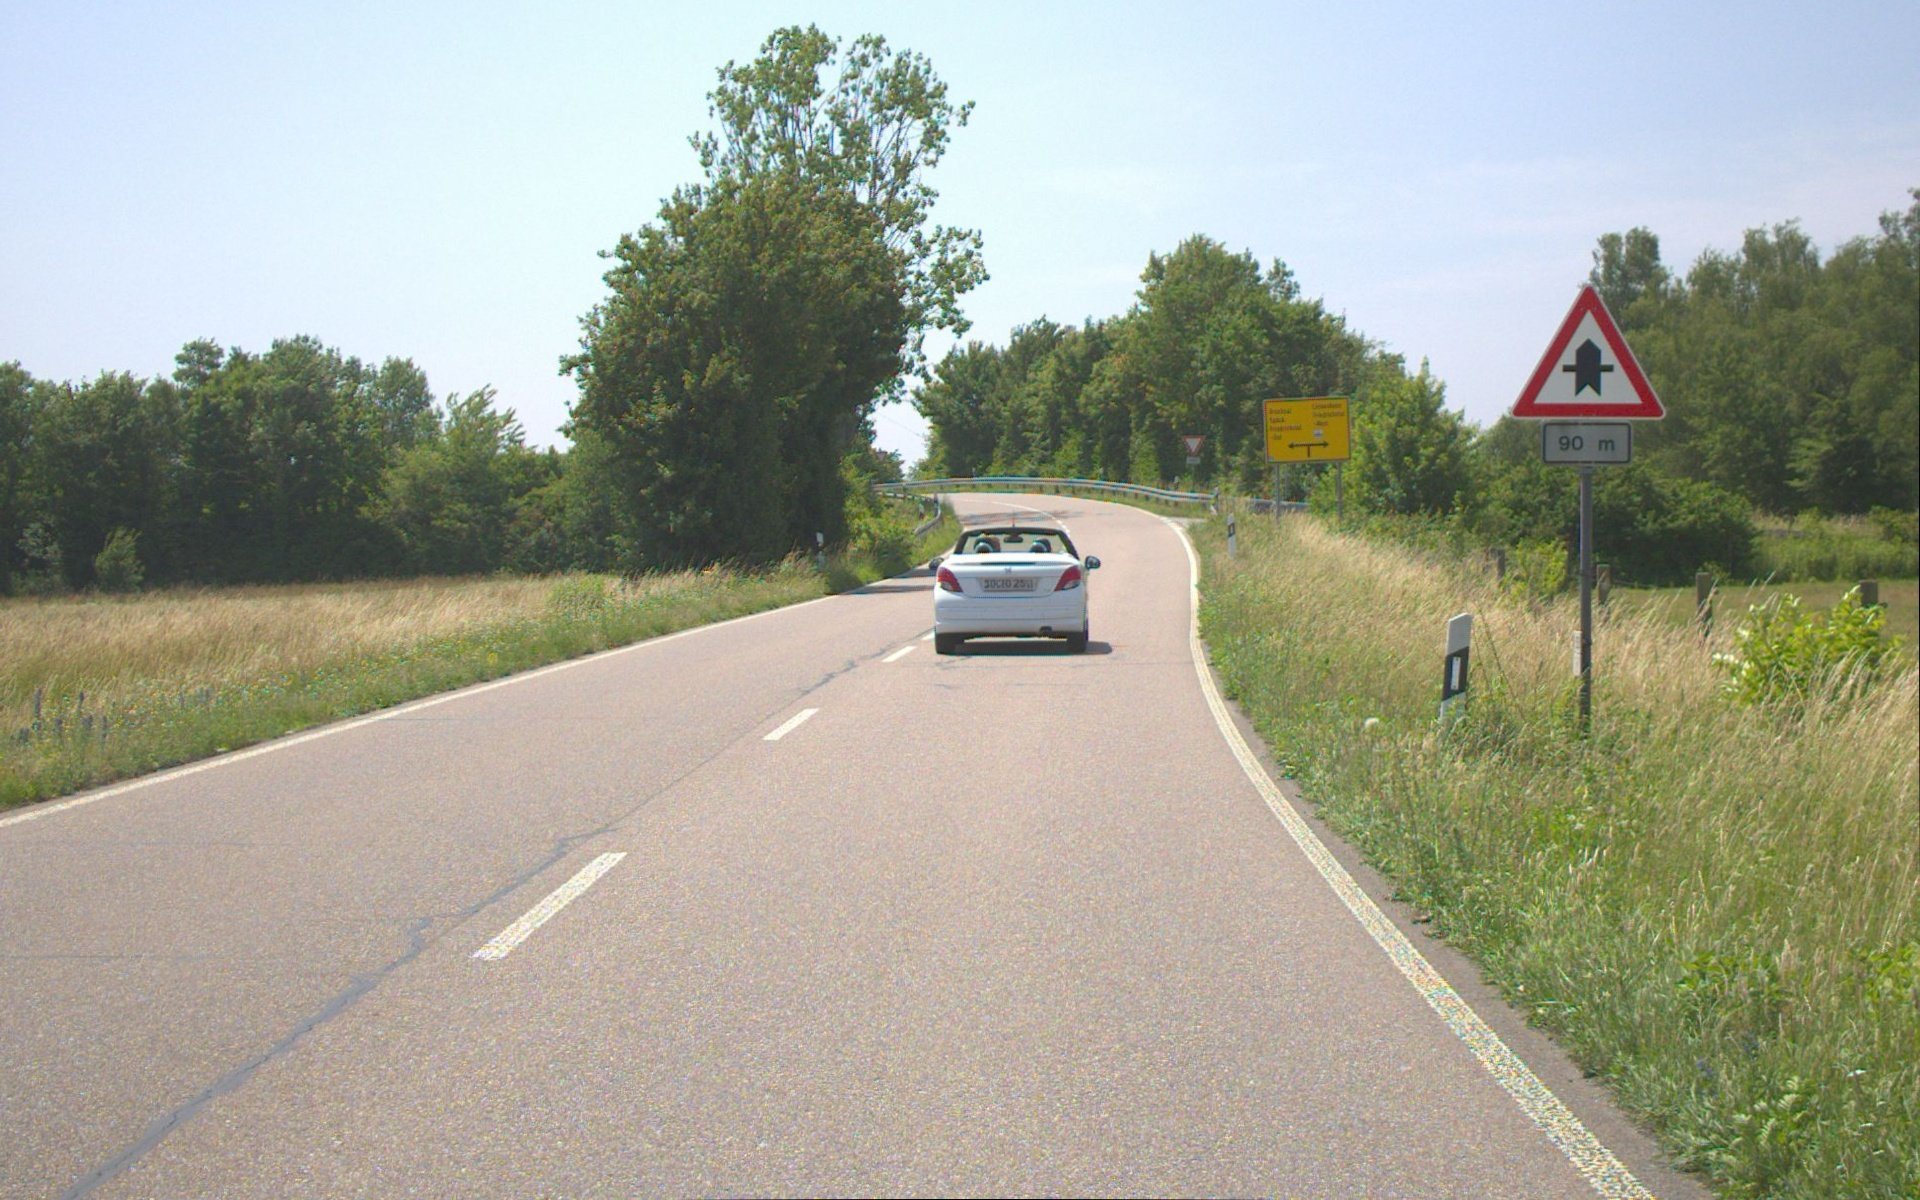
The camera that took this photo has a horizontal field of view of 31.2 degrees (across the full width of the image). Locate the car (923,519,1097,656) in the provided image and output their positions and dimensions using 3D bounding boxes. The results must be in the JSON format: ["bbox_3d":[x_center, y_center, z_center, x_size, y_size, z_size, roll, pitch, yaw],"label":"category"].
[{"bbox_3d":[0.617,-0.182,39.291,1.851,1.374,4.000,-2,2,2],"label":"car"}]
